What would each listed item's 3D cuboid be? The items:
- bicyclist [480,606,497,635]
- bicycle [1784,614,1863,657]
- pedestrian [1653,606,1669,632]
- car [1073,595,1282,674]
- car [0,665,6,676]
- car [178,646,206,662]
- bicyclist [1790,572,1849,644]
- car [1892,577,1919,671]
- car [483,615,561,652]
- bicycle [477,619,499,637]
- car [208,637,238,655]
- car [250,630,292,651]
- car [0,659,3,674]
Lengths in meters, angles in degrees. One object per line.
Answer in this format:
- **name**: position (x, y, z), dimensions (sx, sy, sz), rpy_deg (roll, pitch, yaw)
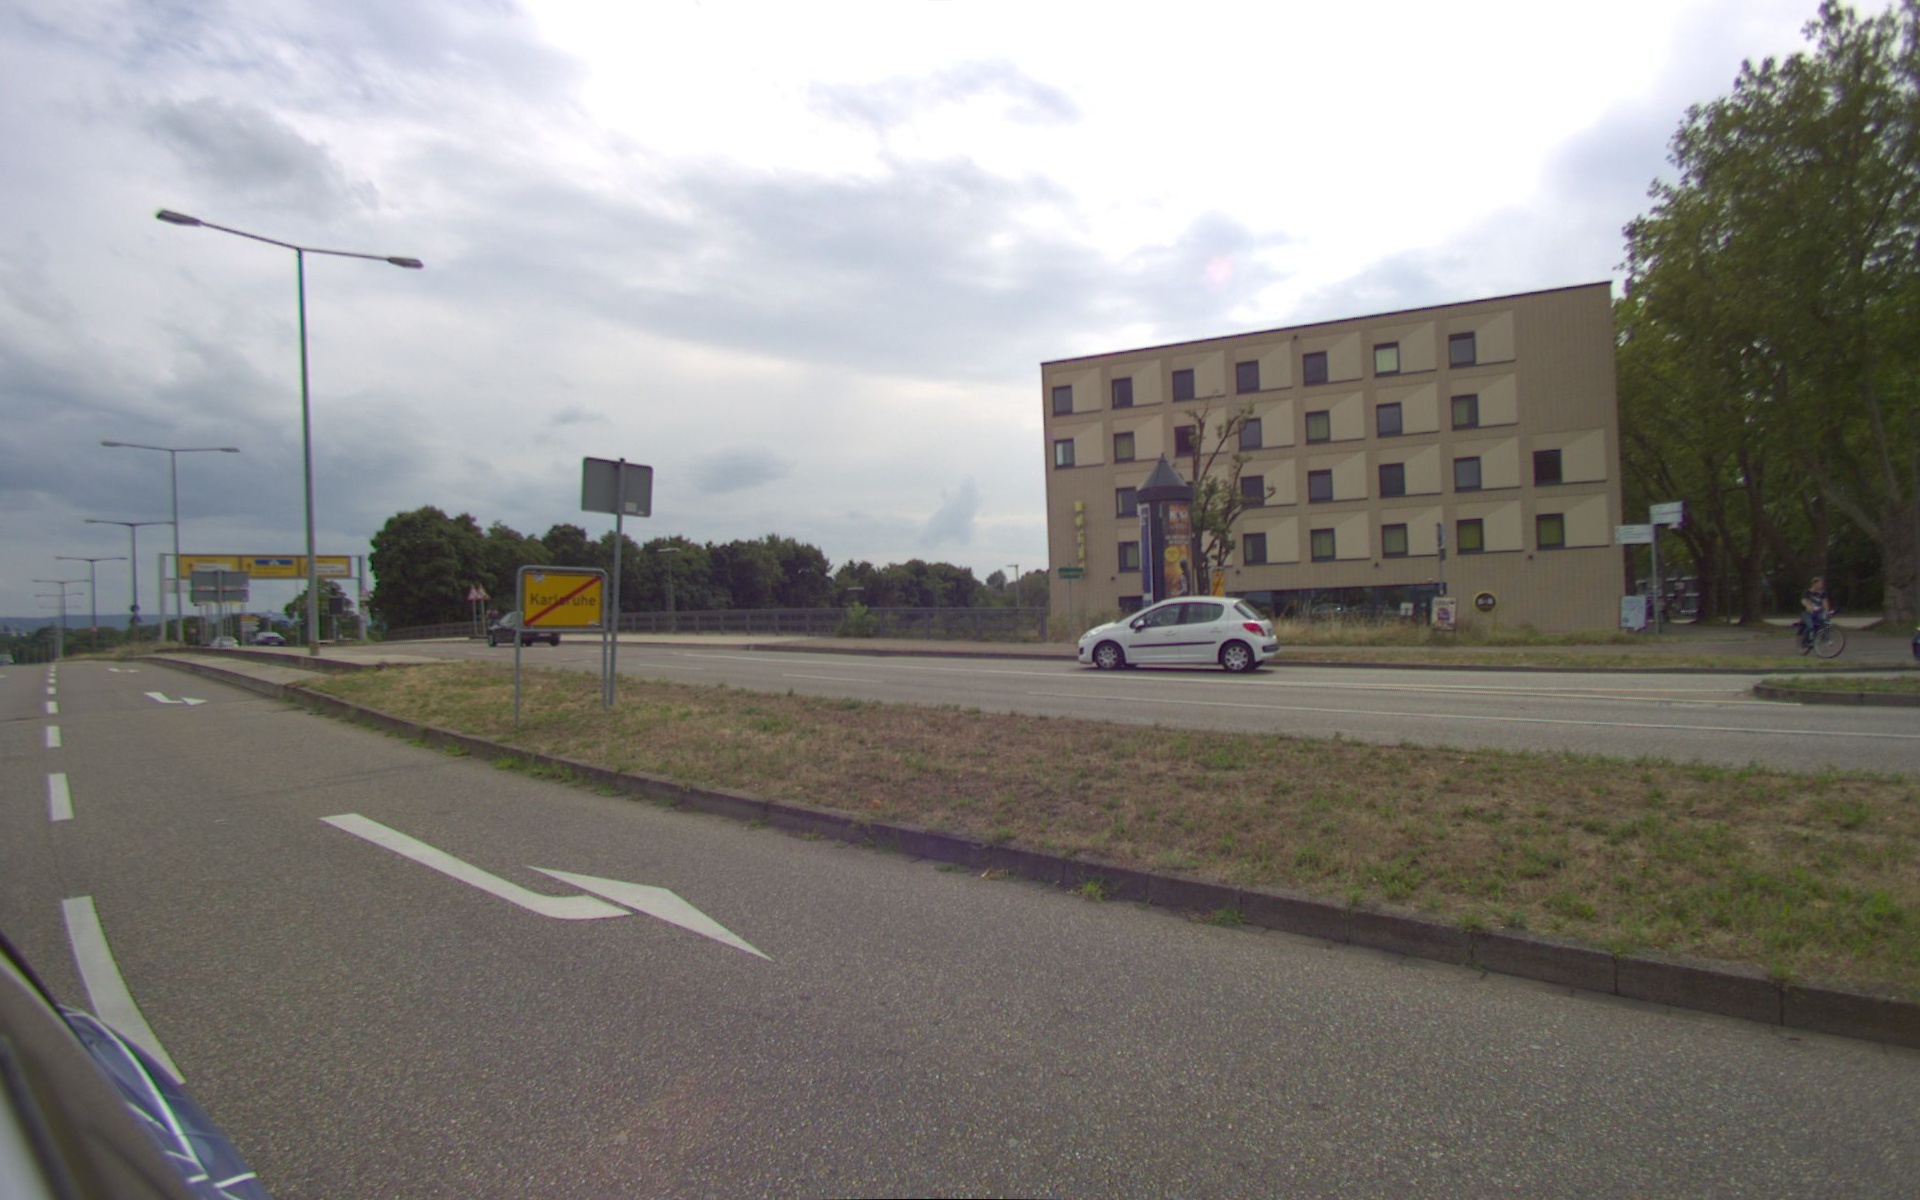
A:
- **bicyclist**: position (-27.935, 1.199, 59.937), dimensions (0.676, 1.684, 0.848), rpy_deg (-1, -1, -41)
- **bicycle**: position (19.797, 0.789, 23.261), dimensions (0.737, 0.916, 2.103), rpy_deg (-2, -1, 23)
- **pedestrian**: position (31.137, 0.844, 44.948), dimensions (0.500, 1.133, 0.458), rpy_deg (-2, -1, 30)
- **car**: position (4.367, 0.664, 20.337), dimensions (3.853, 1.456, 1.717), rpy_deg (-1, 0, 25)
- **car**: position (-127.160, 9.306, 133.539), dimensions (1.834, 1.353, 4.004), rpy_deg (-1, -1, -42)
- **car**: position (-75.501, 5.290, 99.426), dimensions (1.721, 1.421, 3.879), rpy_deg (1, -2, -44)
- **bicyclist**: position (19.799, 0.186, 23.335), dimensions (0.737, 1.627, 0.913), rpy_deg (-2, -1, 23)
- **car**: position (18.303, 0.372, 16.646), dimensions (4.393, 1.572, 1.953), rpy_deg (-1, 0, -7)
- **car**: position (-18.280, 1.396, 42.186), dimensions (1.771, 1.429, 4.004), rpy_deg (-1, -1, -43)
- **bicycle**: position (-27.962, 1.665, 59.960), dimensions (0.676, 1.061, 1.997), rpy_deg (-1, 0, -40)
- **car**: position (-63.751, 3.948, 87.518), dimensions (1.597, 1.421, 3.864), rpy_deg (1, -2, -43)
- **car**: position (-50.771, 2.968, 74.540), dimensions (1.800, 1.457, 4.355), rpy_deg (-1, 0, -45)
- **car**: position (-92.970, 6.437, 96.941), dimensions (1.834, 1.353, 4.004), rpy_deg (-1, -1, -42)
